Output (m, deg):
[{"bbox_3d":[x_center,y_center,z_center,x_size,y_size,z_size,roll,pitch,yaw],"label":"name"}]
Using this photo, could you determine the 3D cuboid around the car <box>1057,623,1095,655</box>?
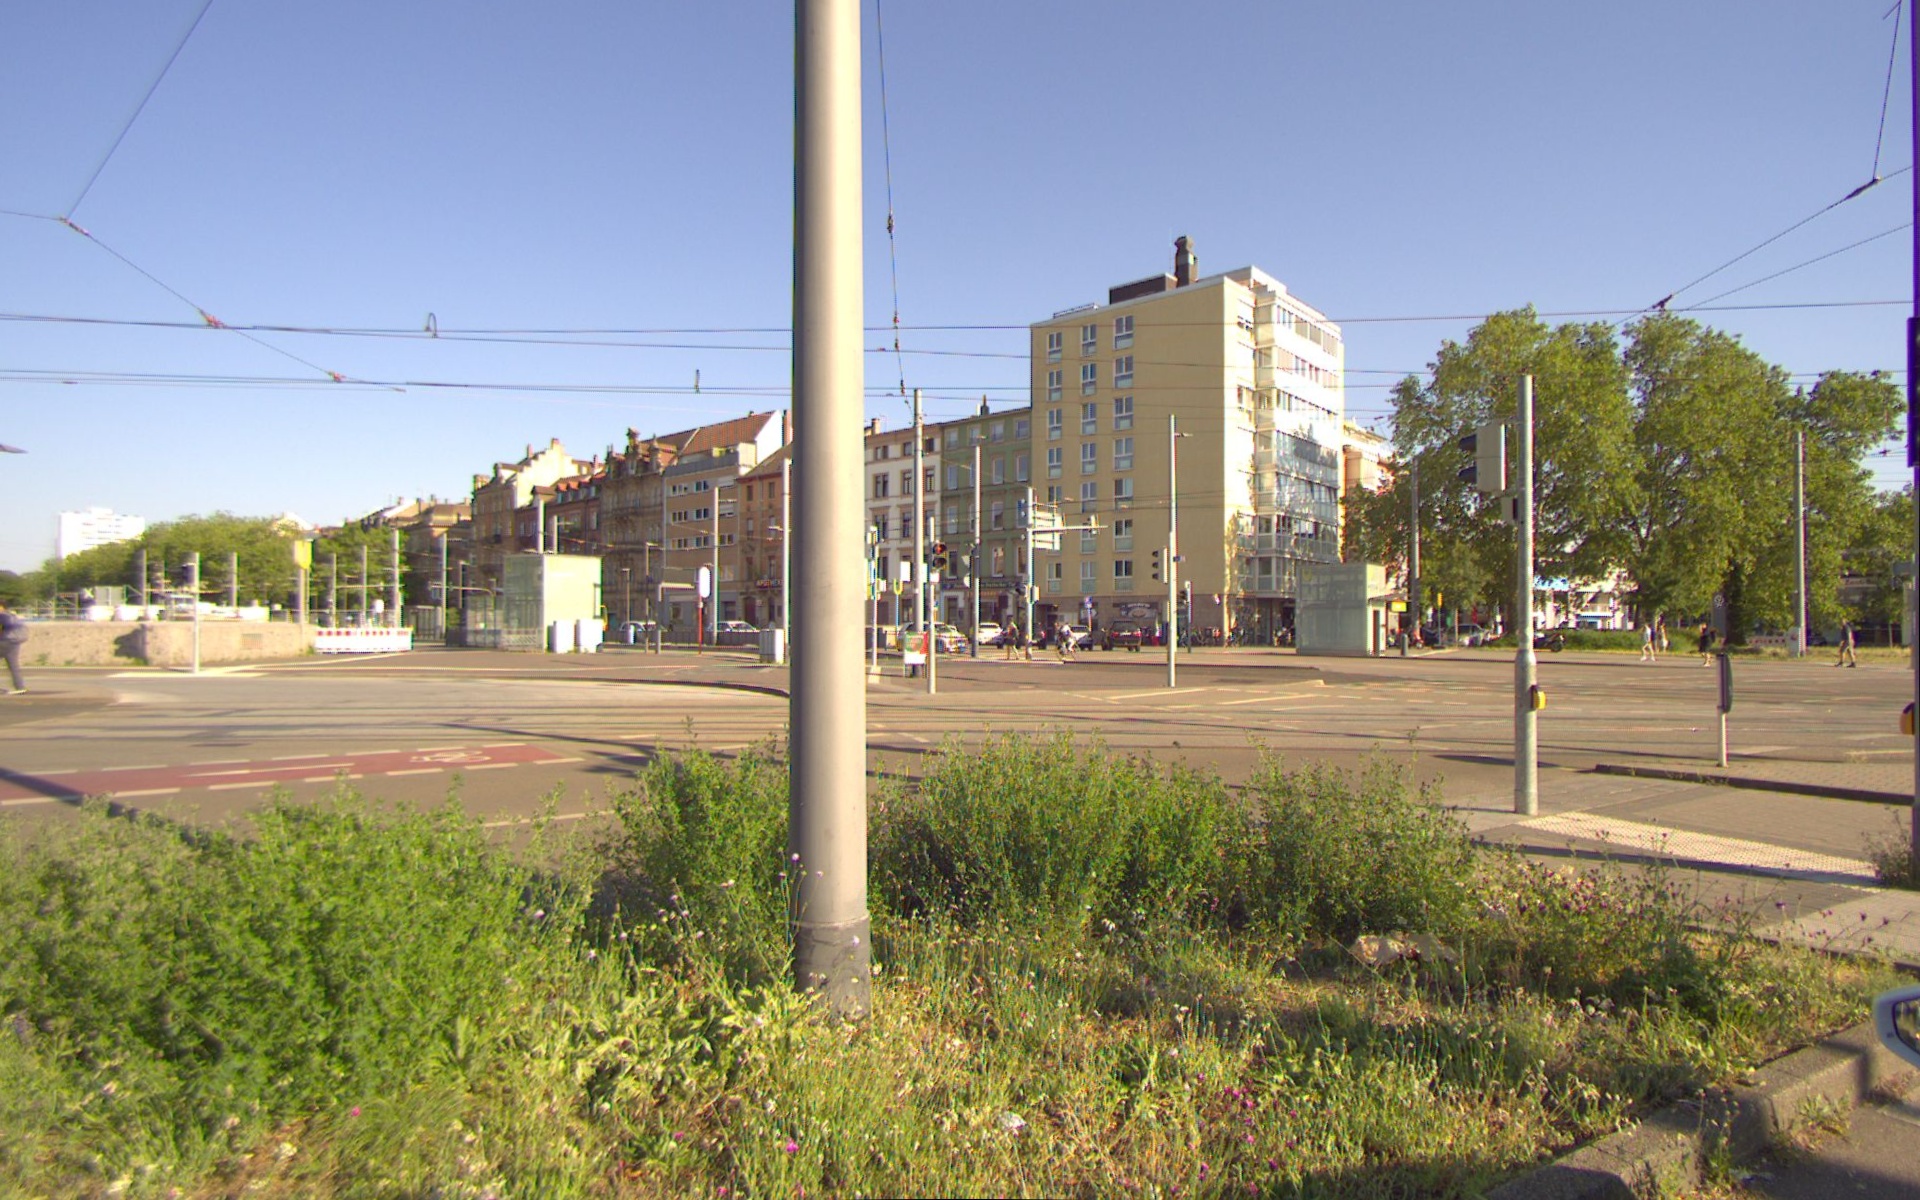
[{"bbox_3d":[6.787,2.254,59.256,1.960,1.728,4.001,2,0,4],"label":"car"}]

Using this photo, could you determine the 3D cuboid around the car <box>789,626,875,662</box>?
[{"bbox_3d":[-6.917,2.344,54.003,4.644,1.684,1.780,2,0,37],"label":"car"}]

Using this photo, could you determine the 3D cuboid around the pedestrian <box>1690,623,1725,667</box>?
[{"bbox_3d":[29.690,1.784,39.901,0.747,1.728,0.793,2,0,-22],"label":"pedestrian"}]

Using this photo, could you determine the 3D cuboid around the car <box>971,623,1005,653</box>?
[{"bbox_3d":[1.832,2.387,63.881,1.960,1.728,4.001,2,0,4],"label":"car"}]

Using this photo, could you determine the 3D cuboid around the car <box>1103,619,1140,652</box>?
[{"bbox_3d":[9.198,1.979,57.507,1.684,1.728,4.001,2,0,4],"label":"car"}]

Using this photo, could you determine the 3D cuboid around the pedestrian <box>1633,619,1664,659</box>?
[{"bbox_3d":[30.377,1.706,44.319,0.747,1.728,0.793,2,0,-22],"label":"pedestrian"}]

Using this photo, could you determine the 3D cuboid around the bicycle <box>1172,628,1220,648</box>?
[{"bbox_3d":[14.933,2.408,63.657,3.003,1.167,0.637,1,0,44],"label":"bicycle"}]

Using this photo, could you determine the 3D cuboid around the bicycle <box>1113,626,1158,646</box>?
[{"bbox_3d":[11.534,2.369,66.126,3.003,1.167,0.637,1,0,44],"label":"bicycle"}]

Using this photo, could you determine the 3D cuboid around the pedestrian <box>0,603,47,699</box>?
[{"bbox_3d":[-17.823,0.910,18.534,0.985,1.706,1.042,2,0,-6],"label":"pedestrian"}]

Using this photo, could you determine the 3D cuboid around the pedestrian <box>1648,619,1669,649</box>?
[{"bbox_3d":[40.701,2.000,58.526,0.491,1.716,0.852,2,0,-32],"label":"pedestrian"}]

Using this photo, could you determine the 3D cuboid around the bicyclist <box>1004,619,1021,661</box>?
[{"bbox_3d":[2.165,1.639,41.530,0.653,1.706,0.980,2,0,2],"label":"bicyclist"}]

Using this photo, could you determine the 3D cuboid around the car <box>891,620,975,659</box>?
[{"bbox_3d":[-1.338,1.910,49.167,3.940,1.684,1.777,2,0,41],"label":"car"}]

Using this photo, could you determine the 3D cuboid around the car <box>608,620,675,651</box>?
[{"bbox_3d":[-21.231,2.321,66.827,4.837,1.849,1.990,2,0,41],"label":"car"}]

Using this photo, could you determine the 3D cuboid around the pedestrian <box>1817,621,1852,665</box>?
[{"bbox_3d":[35.432,1.727,40.682,0.747,1.728,0.793,2,0,-22],"label":"pedestrian"}]

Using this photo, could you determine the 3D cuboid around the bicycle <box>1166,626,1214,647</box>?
[{"bbox_3d":[14.445,2.285,63.218,3.003,1.167,0.637,1,0,44],"label":"bicycle"}]

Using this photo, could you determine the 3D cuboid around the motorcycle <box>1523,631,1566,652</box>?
[{"bbox_3d":[29.149,2.058,50.111,1.753,0.926,0.676,2,0,41],"label":"motorcycle"}]

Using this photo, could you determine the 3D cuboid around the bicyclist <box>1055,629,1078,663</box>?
[{"bbox_3d":[4.306,1.859,40.718,0.617,1.368,0.658,2,0,44],"label":"bicyclist"}]

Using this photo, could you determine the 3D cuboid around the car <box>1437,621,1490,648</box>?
[{"bbox_3d":[32.013,2.204,63.812,3.973,1.588,1.753,2,0,-44],"label":"car"}]

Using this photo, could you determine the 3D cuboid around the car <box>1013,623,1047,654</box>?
[{"bbox_3d":[4.266,2.315,61.468,1.960,1.728,4.001,2,0,4],"label":"car"}]

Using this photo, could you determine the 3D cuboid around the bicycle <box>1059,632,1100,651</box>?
[{"bbox_3d":[8.159,2.834,68.898,3.003,1.167,0.637,1,0,44],"label":"bicycle"}]

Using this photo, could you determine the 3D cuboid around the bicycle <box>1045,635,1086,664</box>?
[{"bbox_3d":[4.289,2.003,40.716,0.617,1.104,1.914,2,0,44],"label":"bicycle"}]
